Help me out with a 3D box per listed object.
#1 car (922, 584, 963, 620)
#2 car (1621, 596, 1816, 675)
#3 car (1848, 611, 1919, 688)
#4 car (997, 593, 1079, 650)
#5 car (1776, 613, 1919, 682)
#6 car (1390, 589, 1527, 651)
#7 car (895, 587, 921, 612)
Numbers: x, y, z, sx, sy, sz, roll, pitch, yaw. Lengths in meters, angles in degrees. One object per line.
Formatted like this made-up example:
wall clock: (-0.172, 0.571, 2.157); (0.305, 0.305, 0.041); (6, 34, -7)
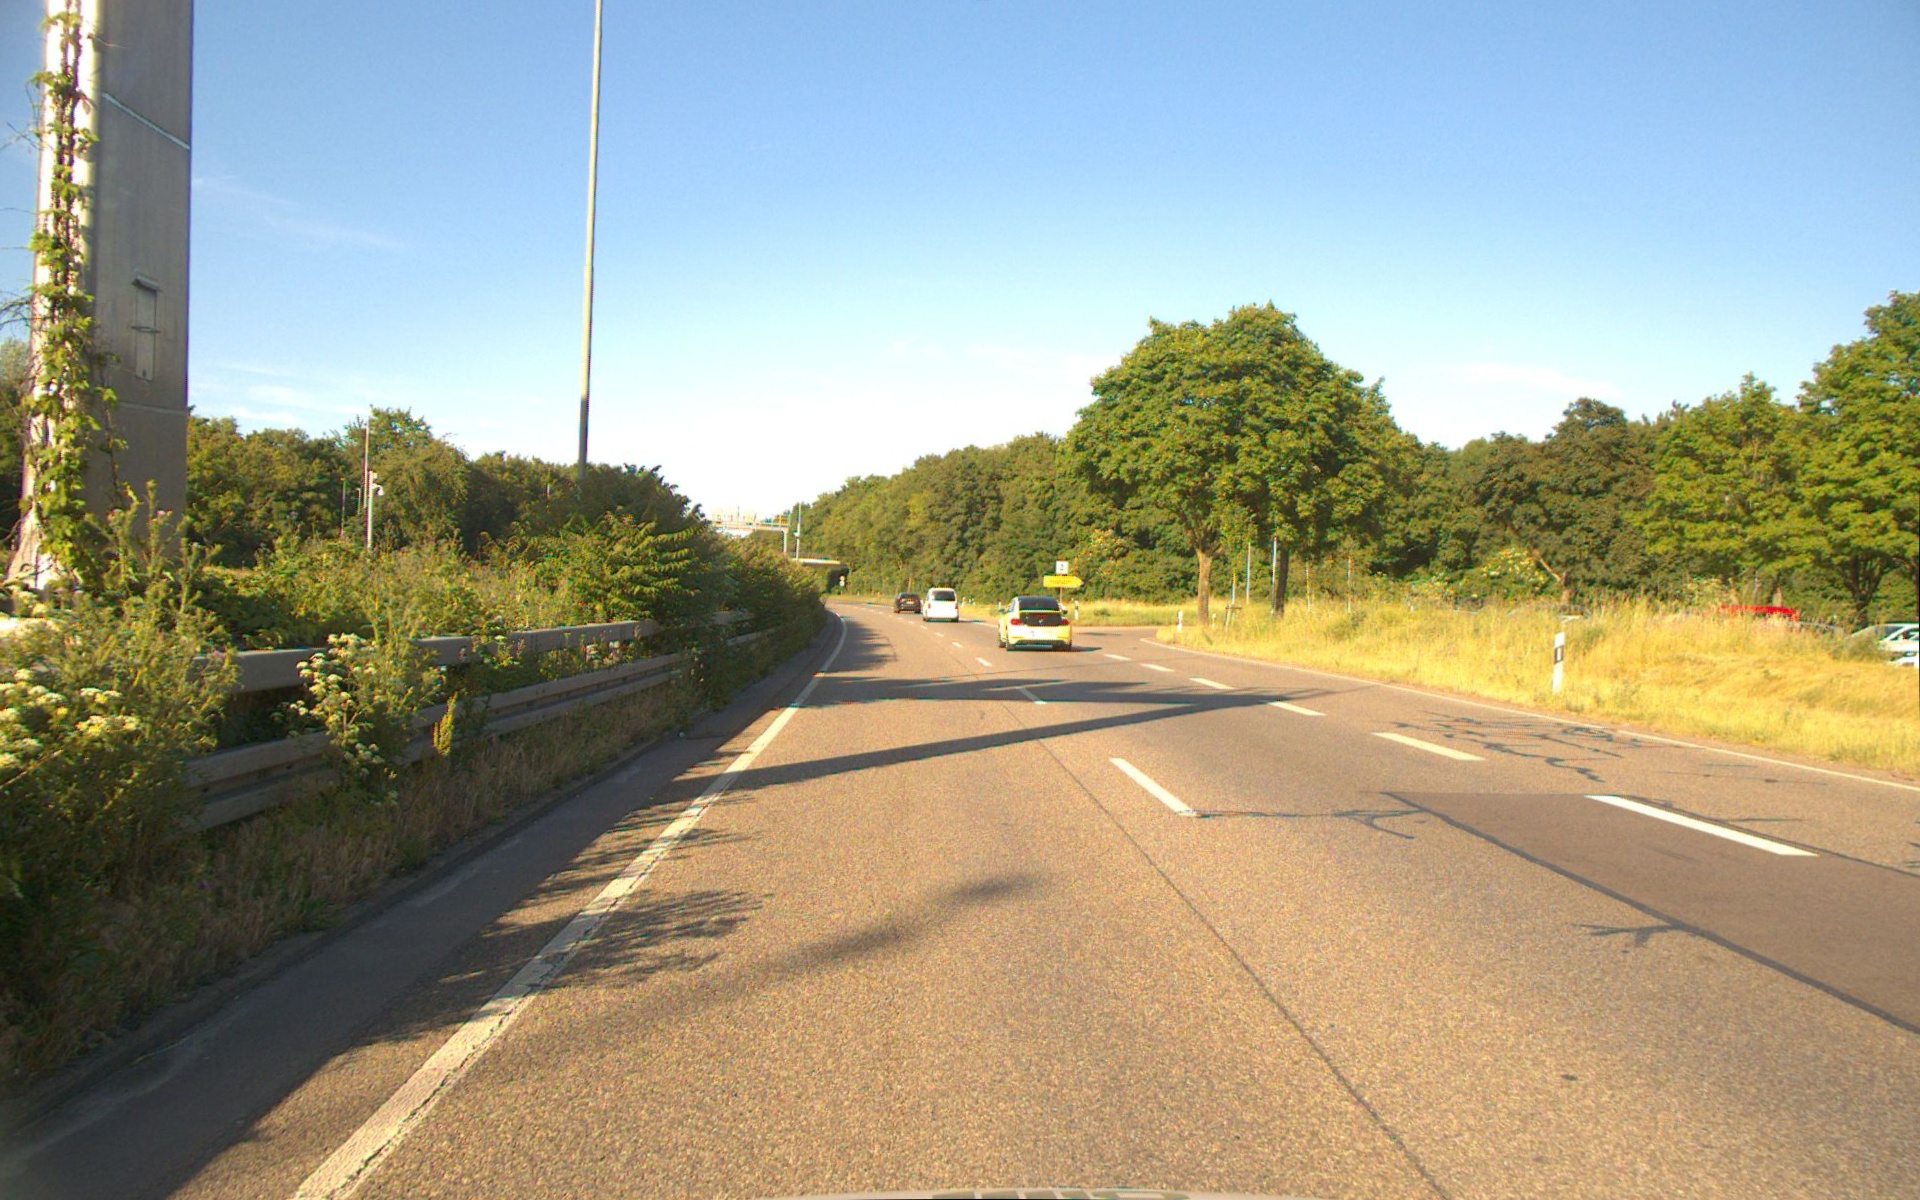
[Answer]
car: (-0.974, 0.141, 88.049); (1.860, 1.798, 3.995); (1, -1, -5)
car: (21.482, 1.036, 46.958); (4.697, 2.059, 2.023); (2, -3, -7)
car: (21.810, 1.120, 35.968); (4.031, 1.587, 1.921); (2, -3, -7)
car: (2.110, 0.558, 45.657); (1.859, 1.496, 3.997); (0, 0, -3)
car: (21.503, 1.142, 38.776); (3.856, 1.485, 1.921); (2, -3, -7)
car: (20.276, 0.821, 67.459); (4.928, 2.173, 2.094); (4, -1, 3)
car: (-3.735, -0.025, 119.394); (1.859, 1.798, 3.999); (0, 0, -2)
